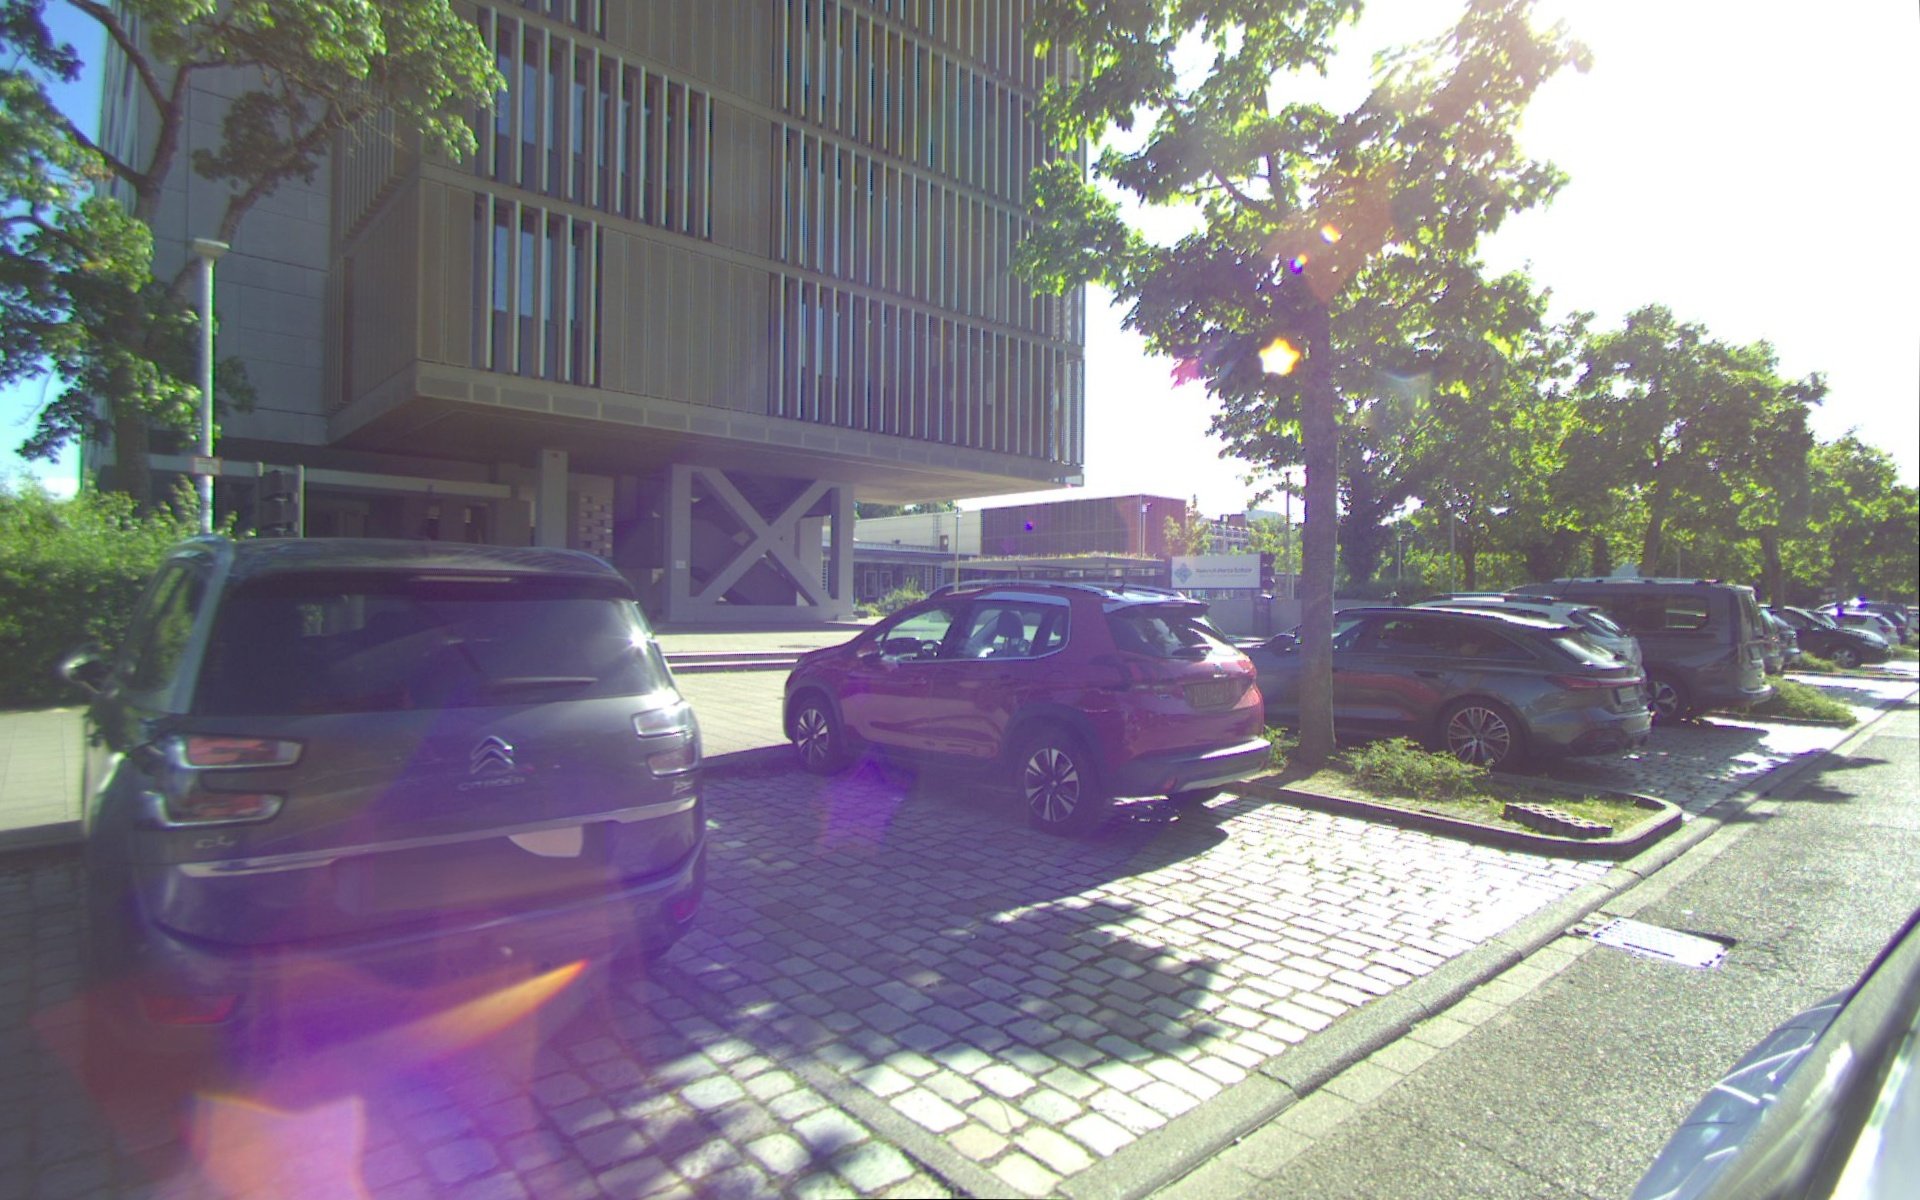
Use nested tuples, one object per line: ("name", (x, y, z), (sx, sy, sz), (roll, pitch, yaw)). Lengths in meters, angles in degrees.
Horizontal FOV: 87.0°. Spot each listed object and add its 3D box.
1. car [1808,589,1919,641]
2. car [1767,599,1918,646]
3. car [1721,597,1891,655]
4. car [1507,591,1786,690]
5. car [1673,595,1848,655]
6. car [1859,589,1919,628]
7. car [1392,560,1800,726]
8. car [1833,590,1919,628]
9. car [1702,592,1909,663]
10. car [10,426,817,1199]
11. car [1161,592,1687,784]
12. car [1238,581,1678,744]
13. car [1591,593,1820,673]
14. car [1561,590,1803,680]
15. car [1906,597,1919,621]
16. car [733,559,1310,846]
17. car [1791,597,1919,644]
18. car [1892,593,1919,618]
("car", (35.482, 0.556, 39.532), (1.667, 1.912, 3.387), (0, 1, -42))
("car", (30.186, 0.720, 34.686), (1.702, 1.444, 3.757), (0, 1, -42))
("car", (25.147, 0.717, 30.158), (1.648, 1.532, 3.713), (0, 1, -42))
("car", (11.555, 0.601, 17.196), (1.648, 1.440, 3.647), (0, 1, -43))
("car", (22.792, 0.654, 28.897), (1.648, 1.532, 3.713), (0, 1, -42))
("car", (42.830, 0.386, 45.310), (1.648, 1.692, 3.713), (0, 1, -42))
("car", (8.635, 0.442, 14.060), (2.039, 1.916, 4.409), (0, 1, -42))
("car", (40.540, 0.369, 44.021), (1.648, 1.544, 3.713), (0, 1, -42))
("car", (21.836, 0.638, 26.233), (1.648, 1.620, 3.955), (0, 1, -44))
("car", (-2.716, 0.408, 4.490), (2.039, 1.661, 4.409), (0, 1, -42))
("car", (4.451, 0.673, 10.257), (2.039, 1.427, 4.409), (0, 1, -42))
("car", (5.900, 0.589, 12.418), (2.039, 1.577, 4.409), (0, 1, -42))
("car", (16.296, 0.649, 22.271), (1.703, 1.532, 3.718), (0, 1, -37))
("car", (14.600, 0.628, 20.620), (1.646, 1.588, 3.717), (0, 1, -38))
("car", (59.594, 0.559, 60.921), (1.648, 1.444, 3.713), (0, 1, -42))
("car", (0.176, 0.500, 7.761), (1.844, 1.555, 4.409), (0, 1, -42))
("car", (33.553, 0.736, 37.771), (1.648, 1.586, 3.713), (0, 1, -42))
("car", (57.476, 0.341, 59.546), (1.648, 1.444, 3.713), (0, 1, -42))
